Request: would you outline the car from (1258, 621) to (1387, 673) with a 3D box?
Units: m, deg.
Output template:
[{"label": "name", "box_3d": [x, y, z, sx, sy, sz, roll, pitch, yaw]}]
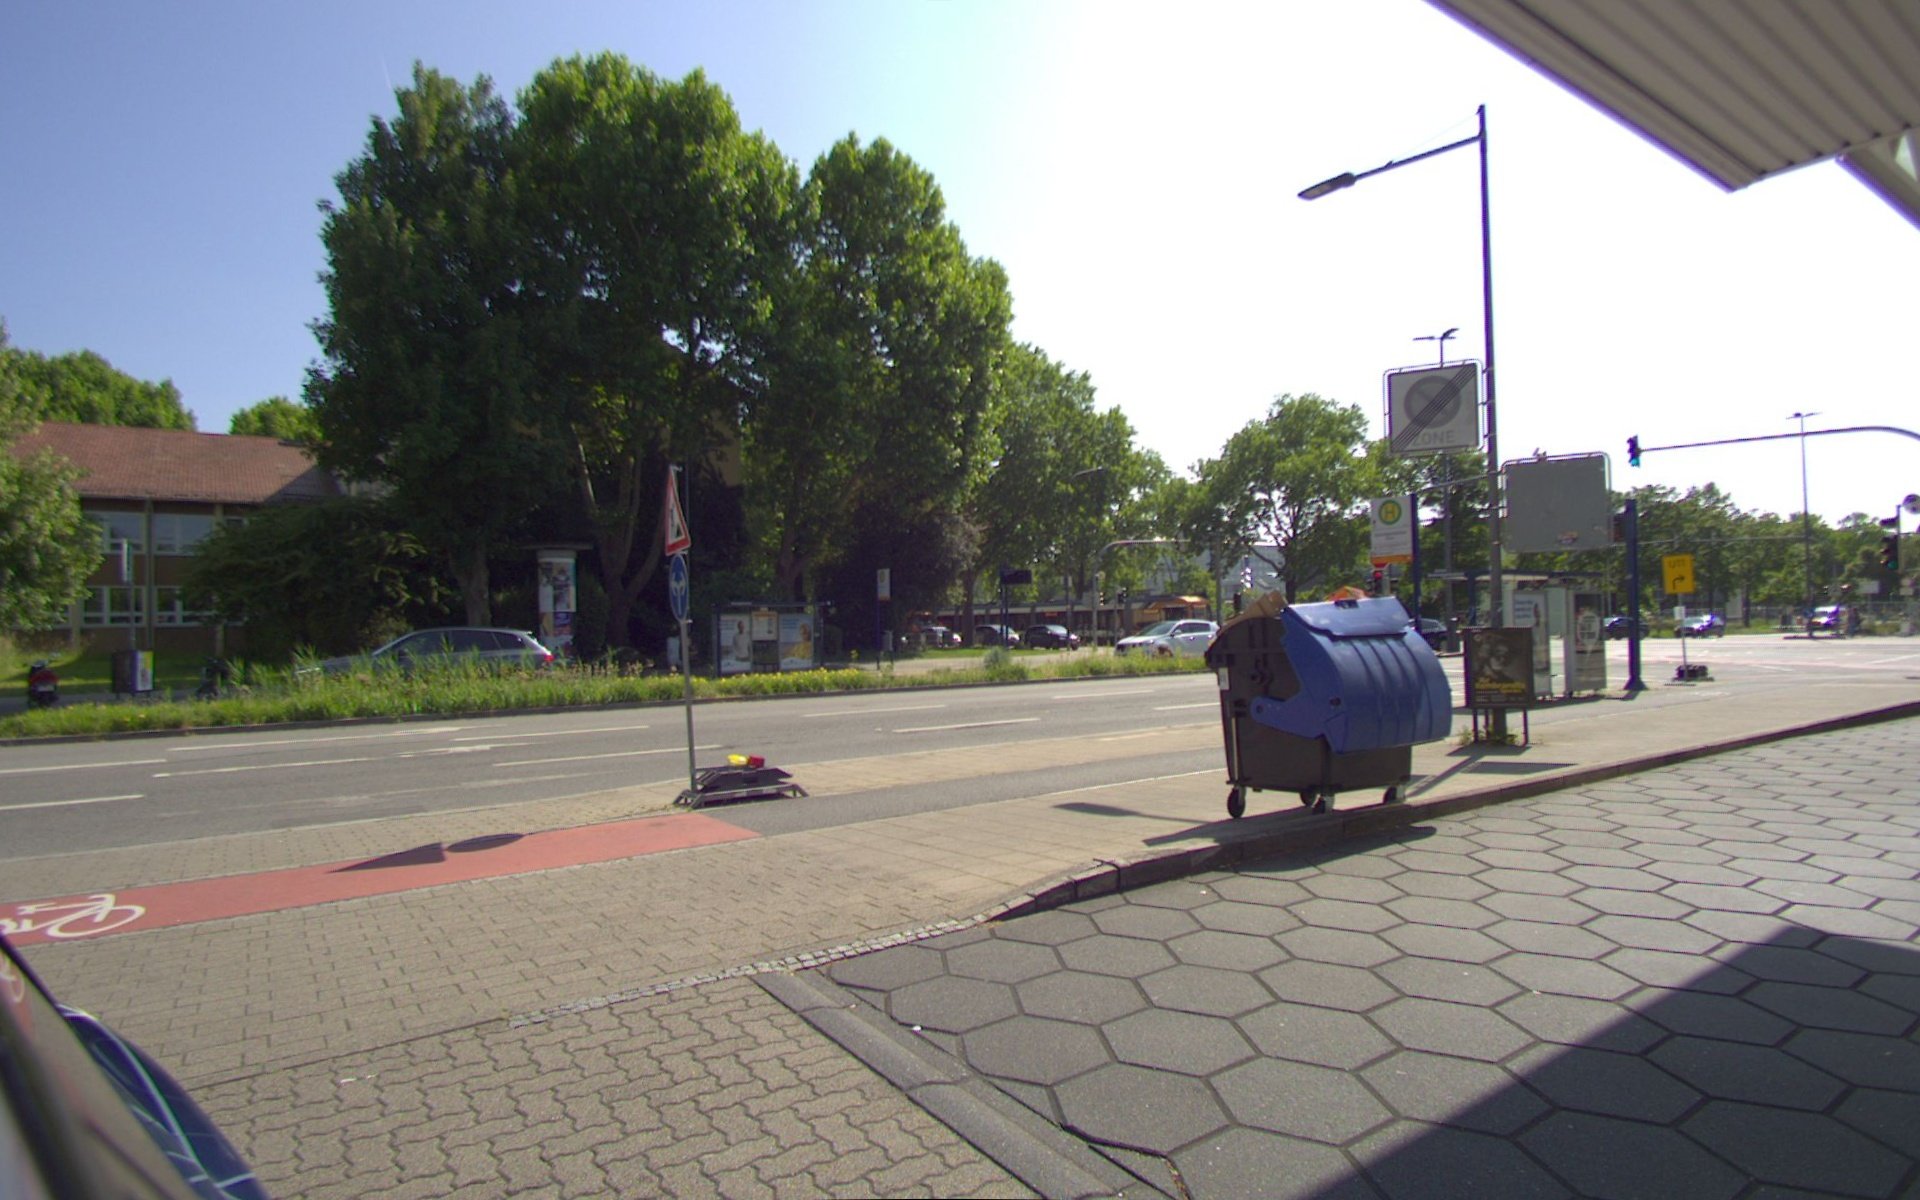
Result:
[{"label": "car", "box_3d": [10.831, 1.351, 30.146, 3.936, 1.377, 1.689, 0, 0, -35]}]

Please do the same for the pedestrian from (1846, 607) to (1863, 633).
[{"label": "pedestrian", "box_3d": [50.872, 1.144, 57.556, 0.505, 1.480, 0.566, 0, -2, -35]}]

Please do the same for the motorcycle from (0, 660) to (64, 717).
[{"label": "motorcycle", "box_3d": [-19.290, 1.826, 21.022, 1.753, 1.122, 0.551, -2, -2, 33]}]

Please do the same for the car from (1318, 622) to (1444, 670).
[{"label": "car", "box_3d": [16.990, 1.849, 40.862, 4.316, 1.782, 2.006, -1, -2, -15]}]

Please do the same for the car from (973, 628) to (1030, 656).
[{"label": "car", "box_3d": [2.818, 2.898, 69.235, 1.838, 1.702, 4.010, 0, -4, -33]}]

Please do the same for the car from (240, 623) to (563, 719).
[{"label": "car", "box_3d": [-11.276, 1.400, 20.673, 5.565, 1.623, 2.005, 0, -4, -35]}]

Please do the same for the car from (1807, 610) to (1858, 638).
[{"label": "car", "box_3d": [67.989, 1.879, 78.848, 4.374, 2.029, 2.004, 1, -4, -37]}]

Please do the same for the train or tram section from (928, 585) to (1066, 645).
[{"label": "train or tram section", "box_3d": [2.707, 1.427, 84.774, 2.290, 4.524, 15.964, 0, -3, -35]}]

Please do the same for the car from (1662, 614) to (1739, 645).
[{"label": "car", "box_3d": [48.132, 1.935, 65.824, 4.138, 1.819, 2.006, -1, -4, -21]}]

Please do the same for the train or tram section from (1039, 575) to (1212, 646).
[{"label": "train or tram section", "box_3d": [11.354, 0.954, 72.399, 2.290, 4.524, 14.980, 0, -3, -35]}]

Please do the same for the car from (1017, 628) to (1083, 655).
[{"label": "car", "box_3d": [5.638, 2.607, 63.775, 1.840, 1.524, 4.006, 1, -5, -41]}]

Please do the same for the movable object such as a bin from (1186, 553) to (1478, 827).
[{"label": "movable object such as a bin", "box_3d": [2.620, 0.603, 7.223, 1.315, 1.701, 1.346, 0, -4, -33]}]

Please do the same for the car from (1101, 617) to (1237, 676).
[{"label": "car", "box_3d": [7.042, 1.517, 33.988, 4.317, 1.782, 2.005, 0, -1, -34]}]

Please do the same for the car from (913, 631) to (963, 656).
[{"label": "car", "box_3d": [-1.647, 3.250, 75.458, 1.838, 1.702, 4.010, 0, -4, -33]}]

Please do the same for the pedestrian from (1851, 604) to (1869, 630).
[{"label": "pedestrian", "box_3d": [51.586, 0.962, 58.008, 0.505, 1.480, 0.567, 0, -2, -32]}]
